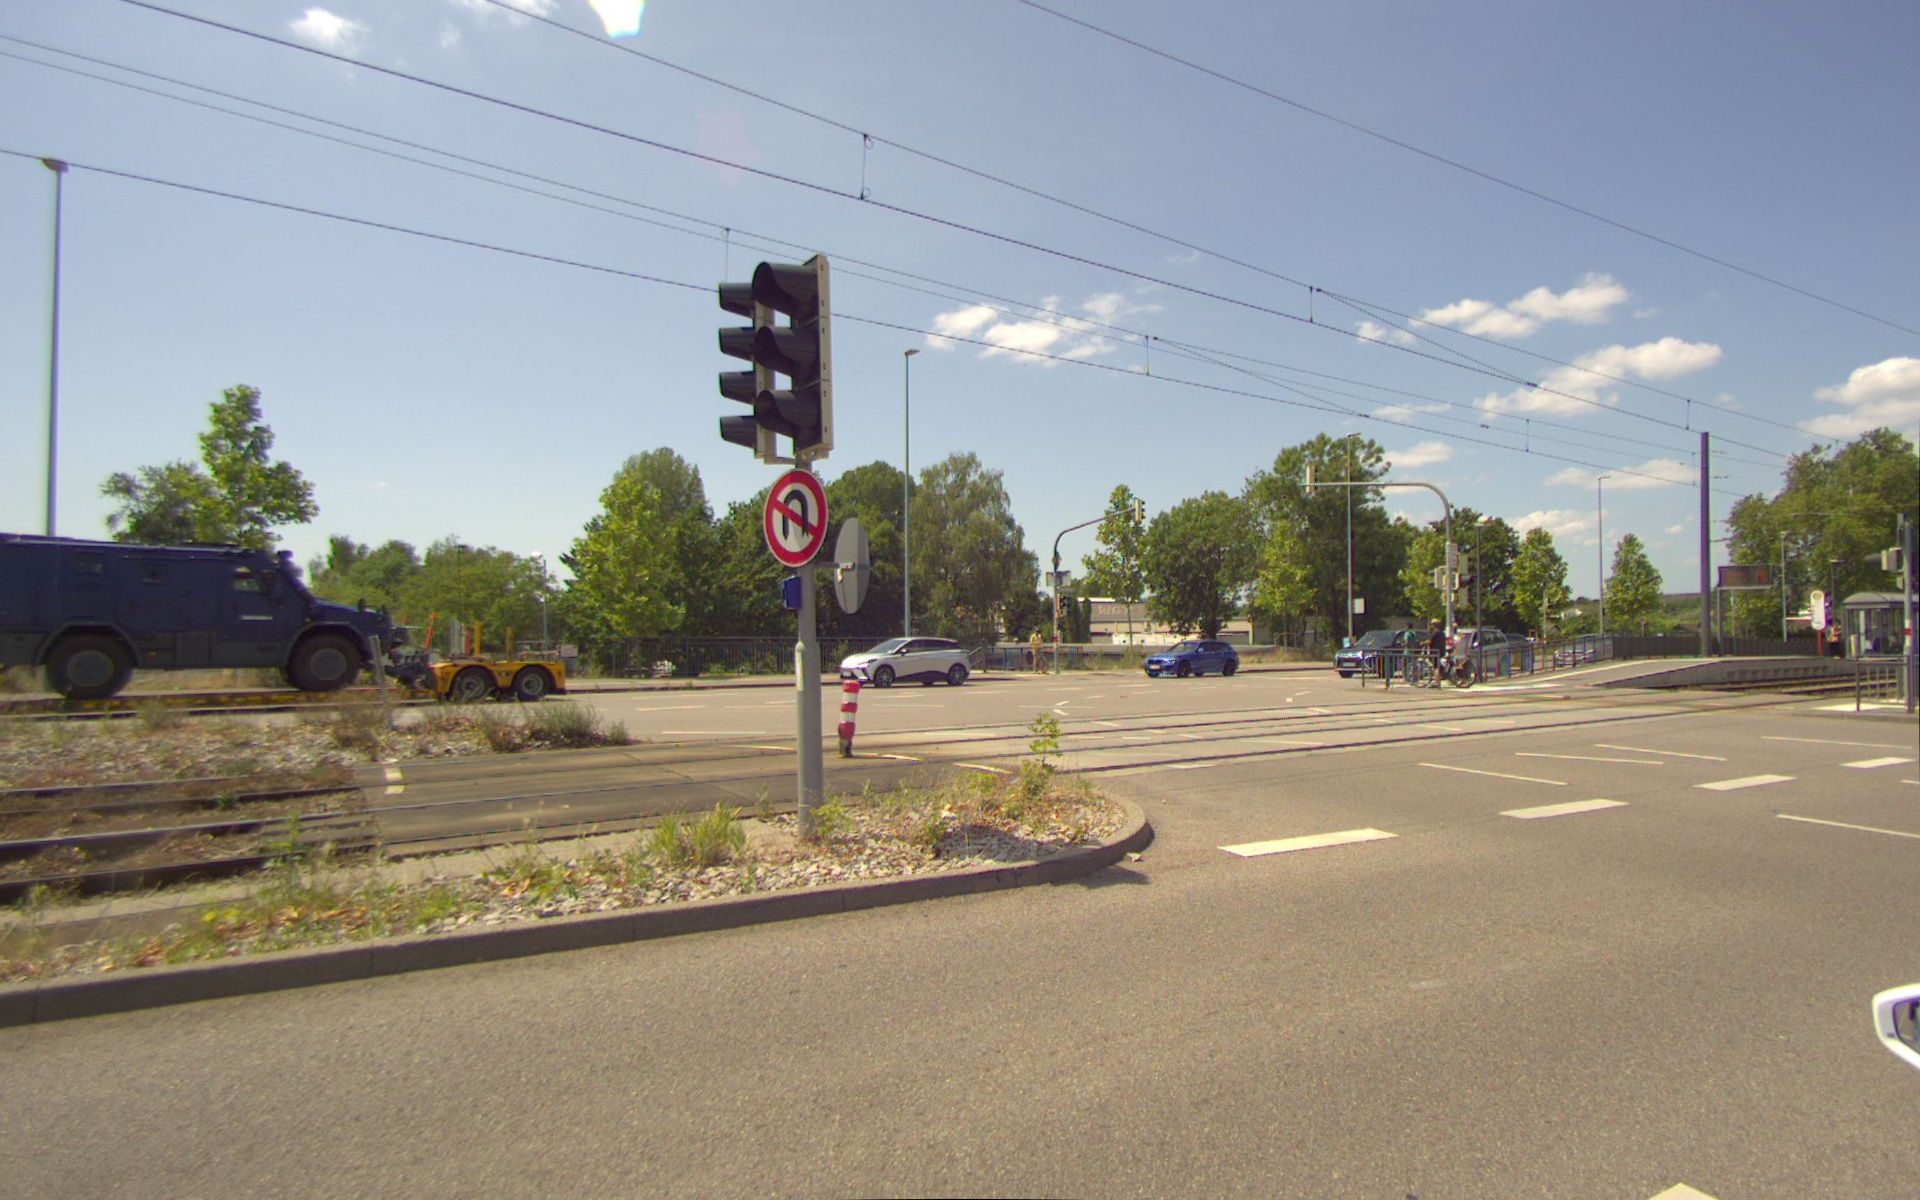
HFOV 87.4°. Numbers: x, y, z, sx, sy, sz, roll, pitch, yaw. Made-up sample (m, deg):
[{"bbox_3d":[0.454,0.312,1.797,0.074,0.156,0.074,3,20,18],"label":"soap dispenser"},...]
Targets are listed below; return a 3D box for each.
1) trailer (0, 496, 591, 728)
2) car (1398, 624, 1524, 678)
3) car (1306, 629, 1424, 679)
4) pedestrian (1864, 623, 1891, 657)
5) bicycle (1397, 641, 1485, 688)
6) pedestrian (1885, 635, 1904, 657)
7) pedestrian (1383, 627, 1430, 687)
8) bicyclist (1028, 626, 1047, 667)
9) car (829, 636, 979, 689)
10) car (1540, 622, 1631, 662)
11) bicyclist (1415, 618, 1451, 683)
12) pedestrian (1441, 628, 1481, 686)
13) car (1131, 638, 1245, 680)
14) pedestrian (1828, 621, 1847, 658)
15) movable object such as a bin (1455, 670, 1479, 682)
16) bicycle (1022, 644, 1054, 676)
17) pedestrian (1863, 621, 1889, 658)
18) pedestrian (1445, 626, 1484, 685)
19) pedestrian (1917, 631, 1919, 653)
[{"bbox_3d":[-15.465,0.261,19.789,15.370,3.922,3.086,2,-1,-43],"label":"trailer"},{"bbox_3d":[16.546,1.651,33.149,3.957,1.650,1.982,1,-1,-33],"label":"car"},{"bbox_3d":[14.257,1.845,35.311,3.957,1.650,1.982,1,-1,-33],"label":"car"},{"bbox_3d":[45.400,1.984,49.692,0.567,1.660,0.828,0,-1,4],"label":"pedestrian"},{"bbox_3d":[12.577,1.665,26.311,1.949,1.115,0.760,1,-1,41],"label":"bicycle"},{"bbox_3d":[47.588,2.341,51.164,0.632,1.109,0.573,1,-1,-33],"label":"pedestrian"},{"bbox_3d":[12.485,1.577,28.077,0.756,1.631,0.950,1,-1,-36],"label":"pedestrian"},{"bbox_3d":[3.158,1.878,40.702,0.537,1.631,0.583,1,-1,-27],"label":"bicyclist"},{"bbox_3d":[-1.706,1.876,31.165,4.235,1.483,1.981,2,-1,-35],"label":"car"},{"bbox_3d":[27.897,1.863,44.772,3.957,1.650,1.982,2,-1,-33],"label":"car"},{"bbox_3d":[12.278,1.302,26.054,0.656,1.636,0.730,1,-1,40],"label":"bicyclist"},{"bbox_3d":[13.924,1.571,27.929,0.756,1.569,0.756,1,-1,-36],"label":"pedestrian"},{"bbox_3d":[8.899,2.258,39.133,4.306,1.464,1.981,1,-1,-35],"label":"car"},{"bbox_3d":[40.019,1.786,45.820,0.800,1.659,0.552,1,-1,-41],"label":"pedestrian"},{"bbox_3d":[14.449,2.164,28.637,0.227,0.325,0.566,1,-1,-37],"label":"movable object such as a bin"},{"bbox_3d":[3.145,2.409,40.660,0.582,1.209,1.524,2,-1,-26],"label":"bicycle"},{"bbox_3d":[44.381,1.898,48.673,0.567,1.752,0.739,0,-1,4],"label":"pedestrian"},{"bbox_3d":[14.630,1.599,29.151,0.756,1.694,0.756,1,-1,-36],"label":"pedestrian"},{"bbox_3d":[53.583,2.330,55.728,0.632,1.206,0.573,1,-1,-33],"label":"pedestrian"}]
